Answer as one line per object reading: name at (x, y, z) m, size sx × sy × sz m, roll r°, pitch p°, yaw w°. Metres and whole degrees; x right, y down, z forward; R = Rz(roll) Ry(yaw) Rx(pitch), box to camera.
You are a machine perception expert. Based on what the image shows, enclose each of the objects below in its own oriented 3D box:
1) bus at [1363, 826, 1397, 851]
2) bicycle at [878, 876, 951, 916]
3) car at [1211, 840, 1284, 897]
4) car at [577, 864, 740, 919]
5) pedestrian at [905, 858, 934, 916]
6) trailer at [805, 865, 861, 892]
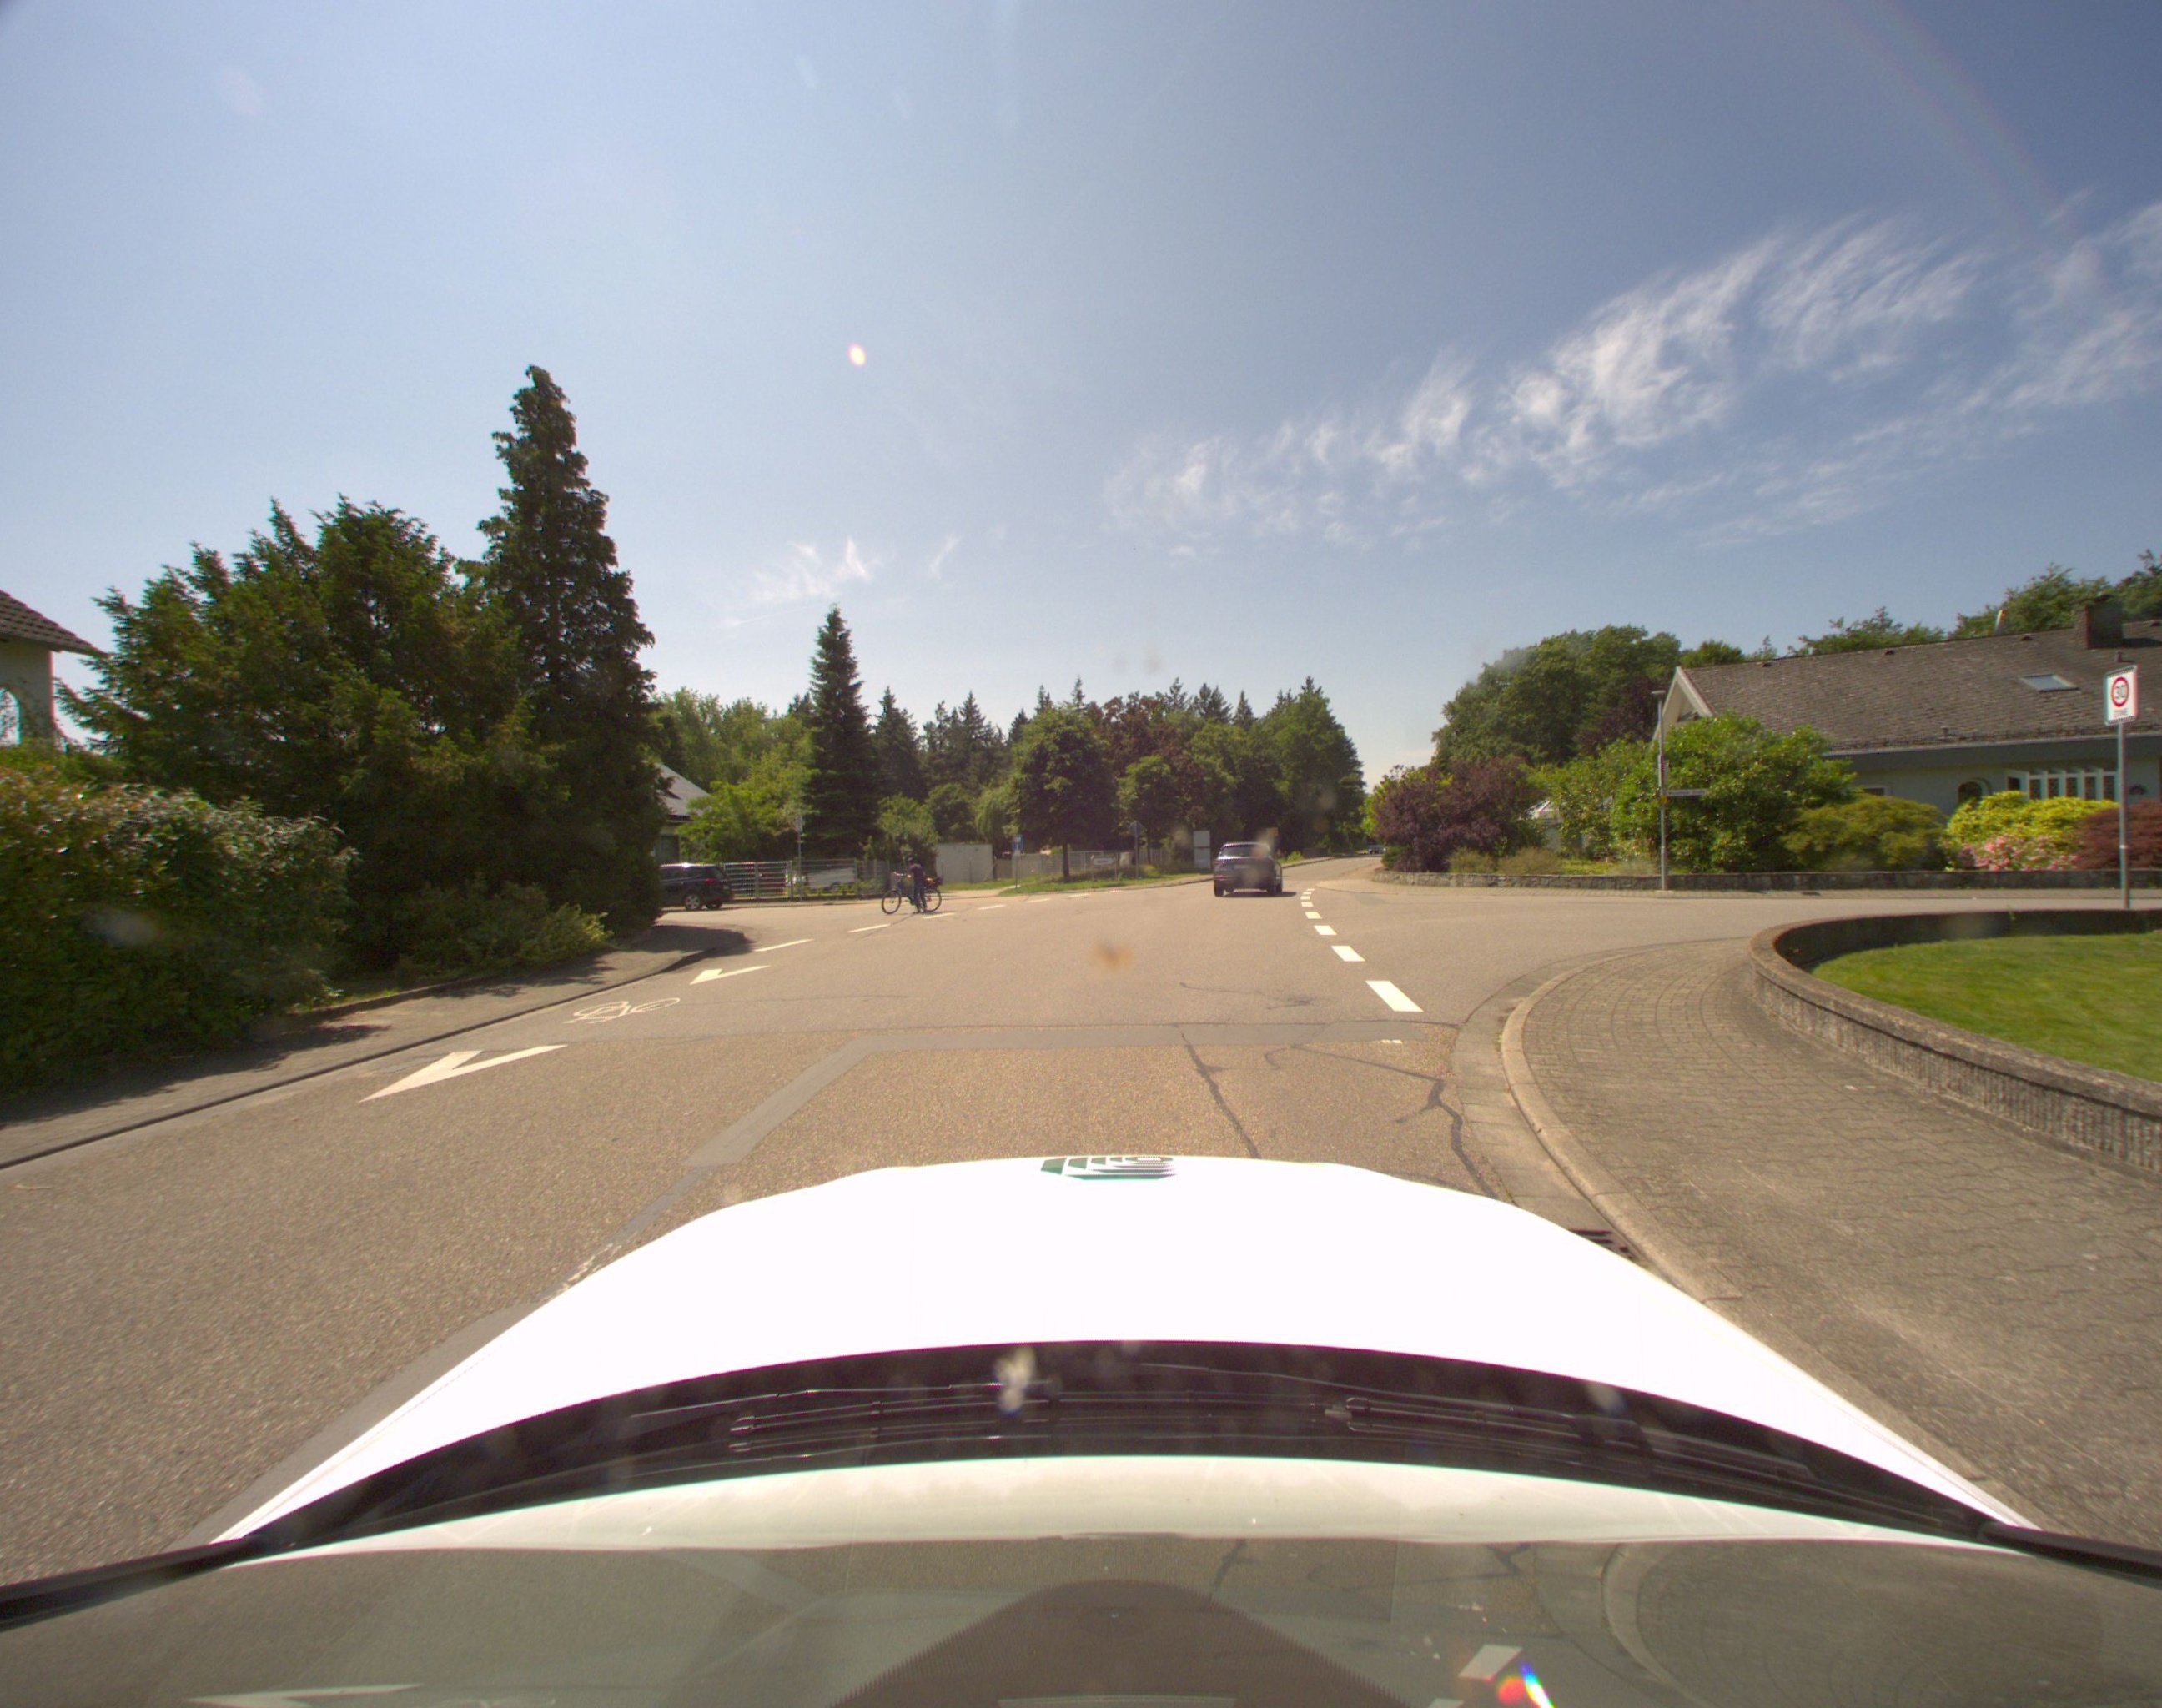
bus at (42.508, -2.186, 115.458) m, size 3.152 × 3.244 × 12.788 m, roll -2°, pitch 0°, yaw 26°
bicycle at (-4.507, 1.126, 22.081) m, size 1.852 × 0.964 × 0.439 m, roll -2°, pitch 0°, yaw -27°
car at (5.181, 0.405, 25.000) m, size 1.748 × 1.618 × 4.018 m, roll -1°, pitch 0°, yaw 18°
car at (-14.910, 1.302, 28.918) m, size 4.653 × 1.662 × 1.969 m, roll -2°, pitch 0°, yaw -1°
pedestrian at (-4.292, 0.856, 21.662) m, size 0.613 × 1.500 × 0.500 m, roll -2°, pitch 0°, yaw -26°
trailer at (-11.127, 1.109, 36.609) m, size 2.214 × 1.084 × 1.103 m, roll -2°, pitch 0°, yaw -9°
